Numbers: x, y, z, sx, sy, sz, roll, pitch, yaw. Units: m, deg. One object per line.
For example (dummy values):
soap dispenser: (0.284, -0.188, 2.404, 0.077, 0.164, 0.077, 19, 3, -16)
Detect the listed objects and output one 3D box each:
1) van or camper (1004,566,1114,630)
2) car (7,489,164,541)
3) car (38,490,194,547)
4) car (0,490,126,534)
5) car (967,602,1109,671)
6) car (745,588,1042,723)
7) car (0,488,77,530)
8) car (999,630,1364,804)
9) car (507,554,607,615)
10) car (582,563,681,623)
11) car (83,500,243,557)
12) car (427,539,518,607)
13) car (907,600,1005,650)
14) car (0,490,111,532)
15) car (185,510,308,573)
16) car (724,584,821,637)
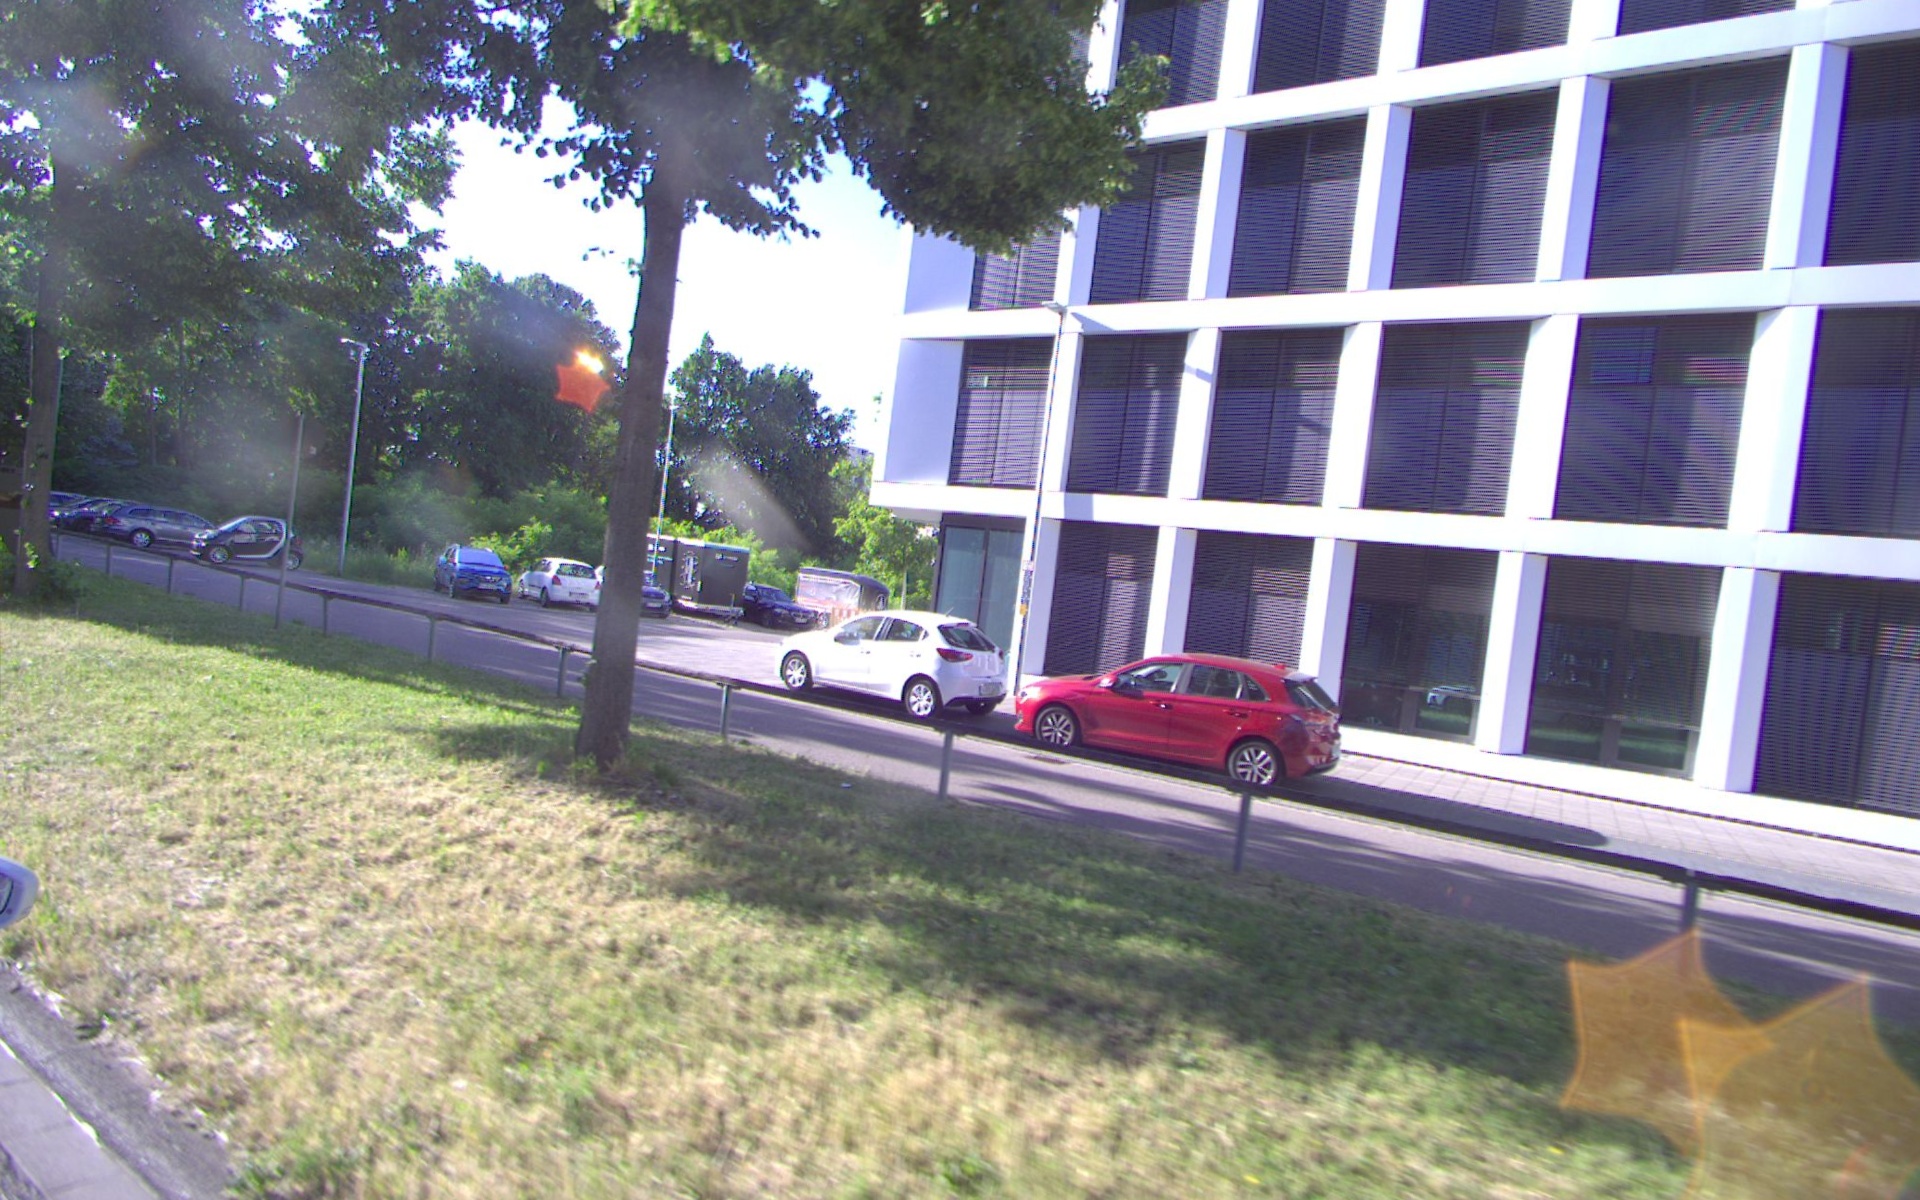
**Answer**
van or camper: (5.417, -0.162, 55.654, 5.775, 2.925, 1.990, 6, -2, 44)
car: (-35.033, -3.373, 40.432, 1.874, 1.497, 4.333, 8, 2, 28)
car: (-32.335, -3.096, 38.665, 1.752, 1.517, 4.197, 7, 0, 29)
car: (-37.598, -3.672, 41.622, 1.968, 1.430, 4.376, 7, 4, 34)
car: (2.374, 1.099, 31.331, 1.989, 1.592, 3.950, 9, -2, -44)
car: (-1.126, 0.789, 16.024, 4.332, 1.506, 1.992, 7, 2, 35)
car: (-43.498, -4.315, 46.179, 1.734, 1.523, 3.997, 7, -1, 26)
car: (2.846, 1.382, 13.223, 4.202, 1.506, 1.865, 7, 2, 32)
car: (-12.892, -0.531, 32.040, 1.740, 1.553, 3.839, 9, -2, -39)
car: (-10.966, -0.259, 33.438, 1.711, 1.558, 3.908, 9, -2, -39)
car: (-28.096, -2.494, 35.591, 1.687, 1.486, 4.081, 7, 1, 33)
car: (-14.629, -0.840, 30.076, 1.585, 1.566, 3.777, 6, 2, -38)
car: (-0.213, 1.084, 44.087, 1.821, 1.492, 4.221, 8, 1, -42)
car: (-39.859, -3.890, 43.262, 1.967, 1.425, 4.718, 7, 3, 32)
car: (-22.028, -1.801, 31.086, 1.441, 1.569, 2.761, 6, 0, 41)
car: (-6.994, 0.350, 37.235, 1.774, 1.513, 3.839, 9, -2, -39)
